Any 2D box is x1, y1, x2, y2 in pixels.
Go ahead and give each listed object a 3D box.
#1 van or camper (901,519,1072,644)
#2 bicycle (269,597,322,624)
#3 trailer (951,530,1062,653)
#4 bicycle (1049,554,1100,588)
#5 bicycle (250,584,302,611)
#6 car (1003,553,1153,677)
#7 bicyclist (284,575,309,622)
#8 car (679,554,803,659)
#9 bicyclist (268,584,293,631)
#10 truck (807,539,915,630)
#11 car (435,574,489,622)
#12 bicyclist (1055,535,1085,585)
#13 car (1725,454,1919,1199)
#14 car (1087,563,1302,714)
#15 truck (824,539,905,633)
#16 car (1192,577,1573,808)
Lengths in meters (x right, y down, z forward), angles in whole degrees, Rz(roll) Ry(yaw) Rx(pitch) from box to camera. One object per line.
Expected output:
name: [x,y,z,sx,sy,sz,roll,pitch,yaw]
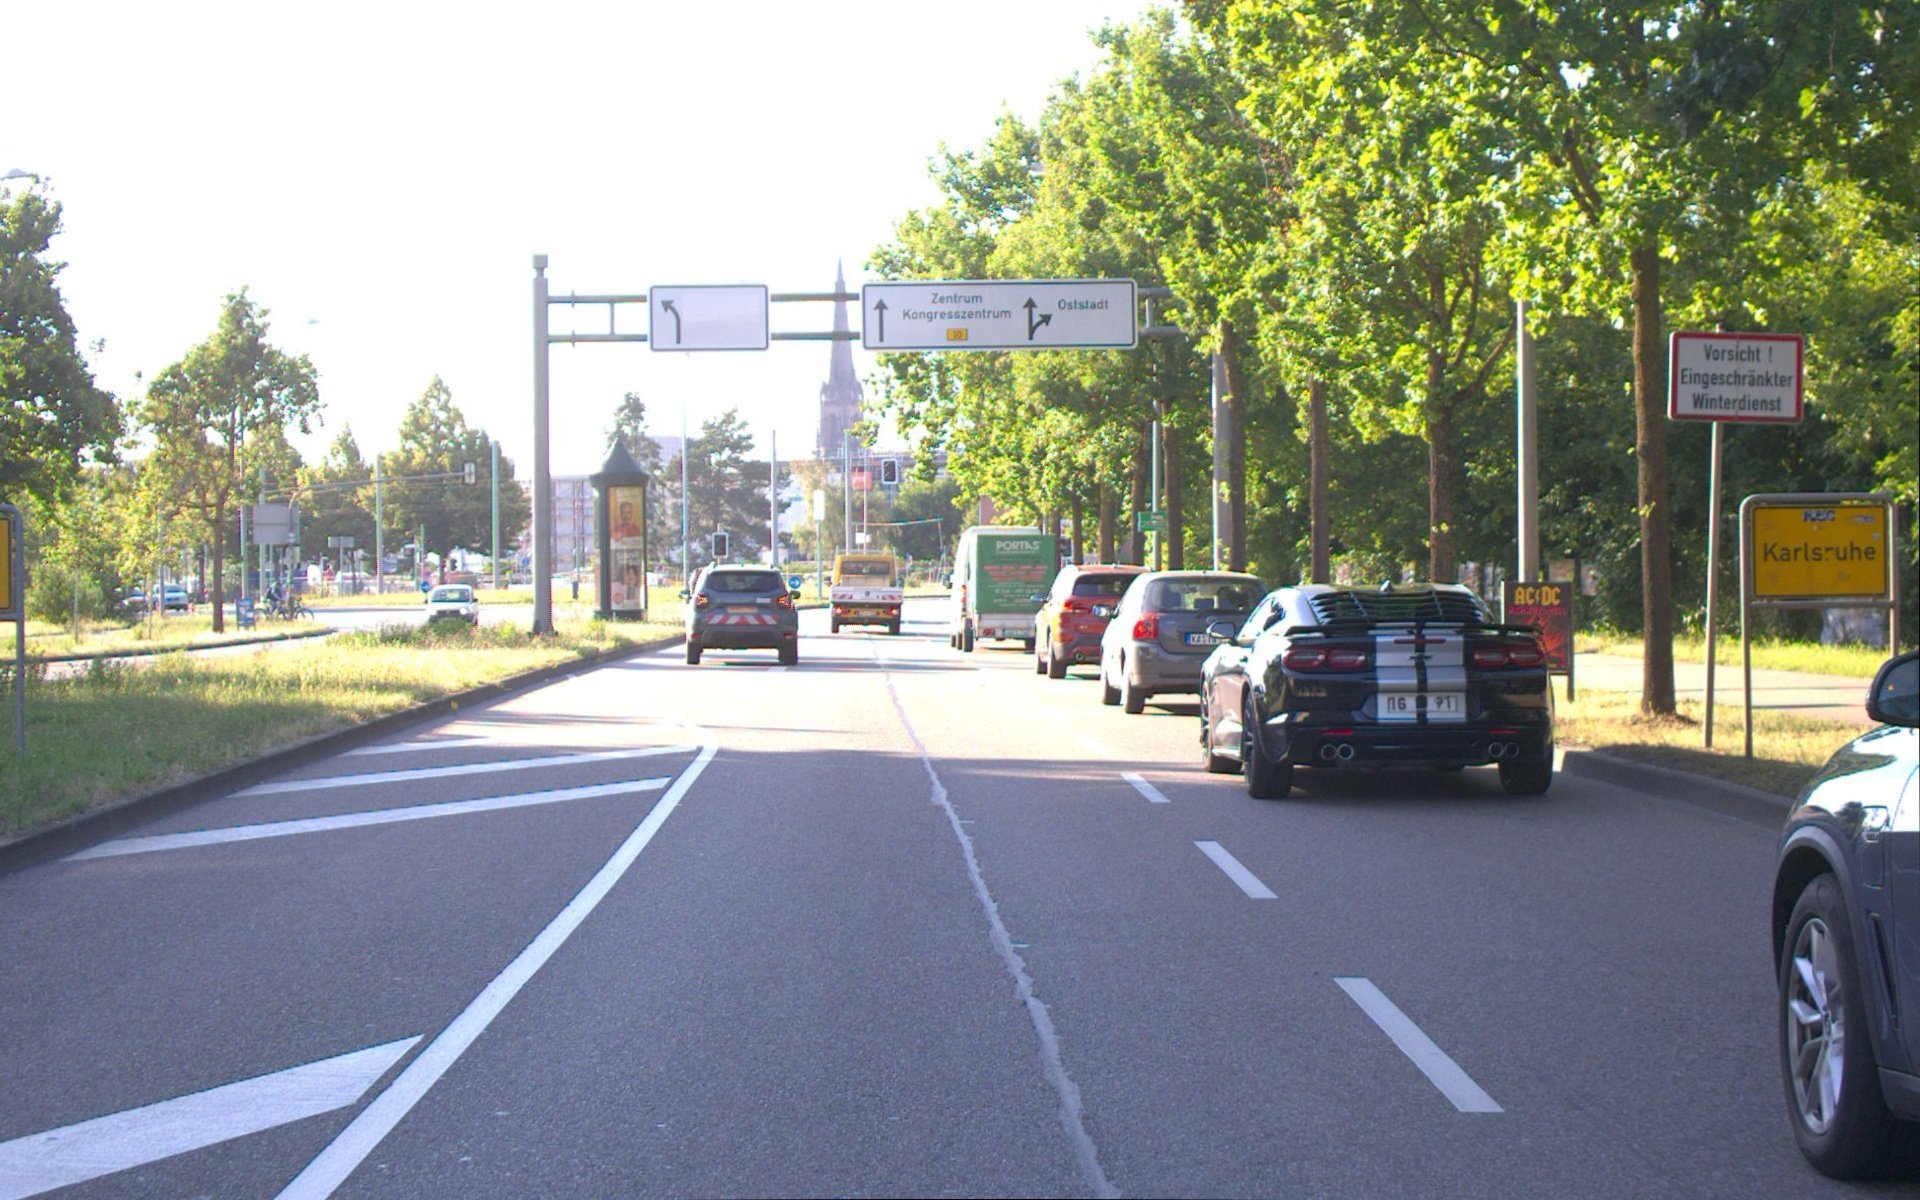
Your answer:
van or camper: [0.514,-0.435,75.733,2.284,2.620,6.585,0,1,-13]
bicycle: [-25.658,0.416,132.758,1.909,1.016,0.504,1,0,6]
trailer: [0.916,-0.190,69.785,2.090,2.392,3.501,1,1,-2]
bicycle: [4.421,-1.105,132.737,1.908,1.240,0.608,-2,0,35]
bicycle: [-26.122,-0.113,131.313,1.909,1.016,0.504,1,0,14]
car: [1.642,0.175,49.071,1.747,1.615,3.820,1,1,-4]
bicyclist: [-25.635,-0.050,132.750,0.813,1.783,0.496,1,0,6]
car: [-3.647,0.090,56.681,1.905,1.654,4.001,-1,0,-5]
bicyclist: [-25.953,0.295,131.280,0.813,1.764,0.496,1,0,14]
truck: [-2.947,-0.487,101.060,2.580,2.549,6.253,-1,1,-7]
car: [-16.987,-0.076,117.319,1.562,1.569,3.413,-1,0,-4]
bicyclist: [4.244,-1.549,132.849,0.938,1.892,0.600,-2,0,35]
car: [3.019,0.561,6.657,1.955,1.721,4.699,0,0,-1]
car: [2.418,0.365,36.270,1.747,1.468,3.820,-1,1,-4]
truck: [-2.822,-0.436,100.332,2.219,2.642,4.774,-1,1,-3]
car: [2.663,0.533,22.711,1.854,1.333,4.625,0,1,-1]
